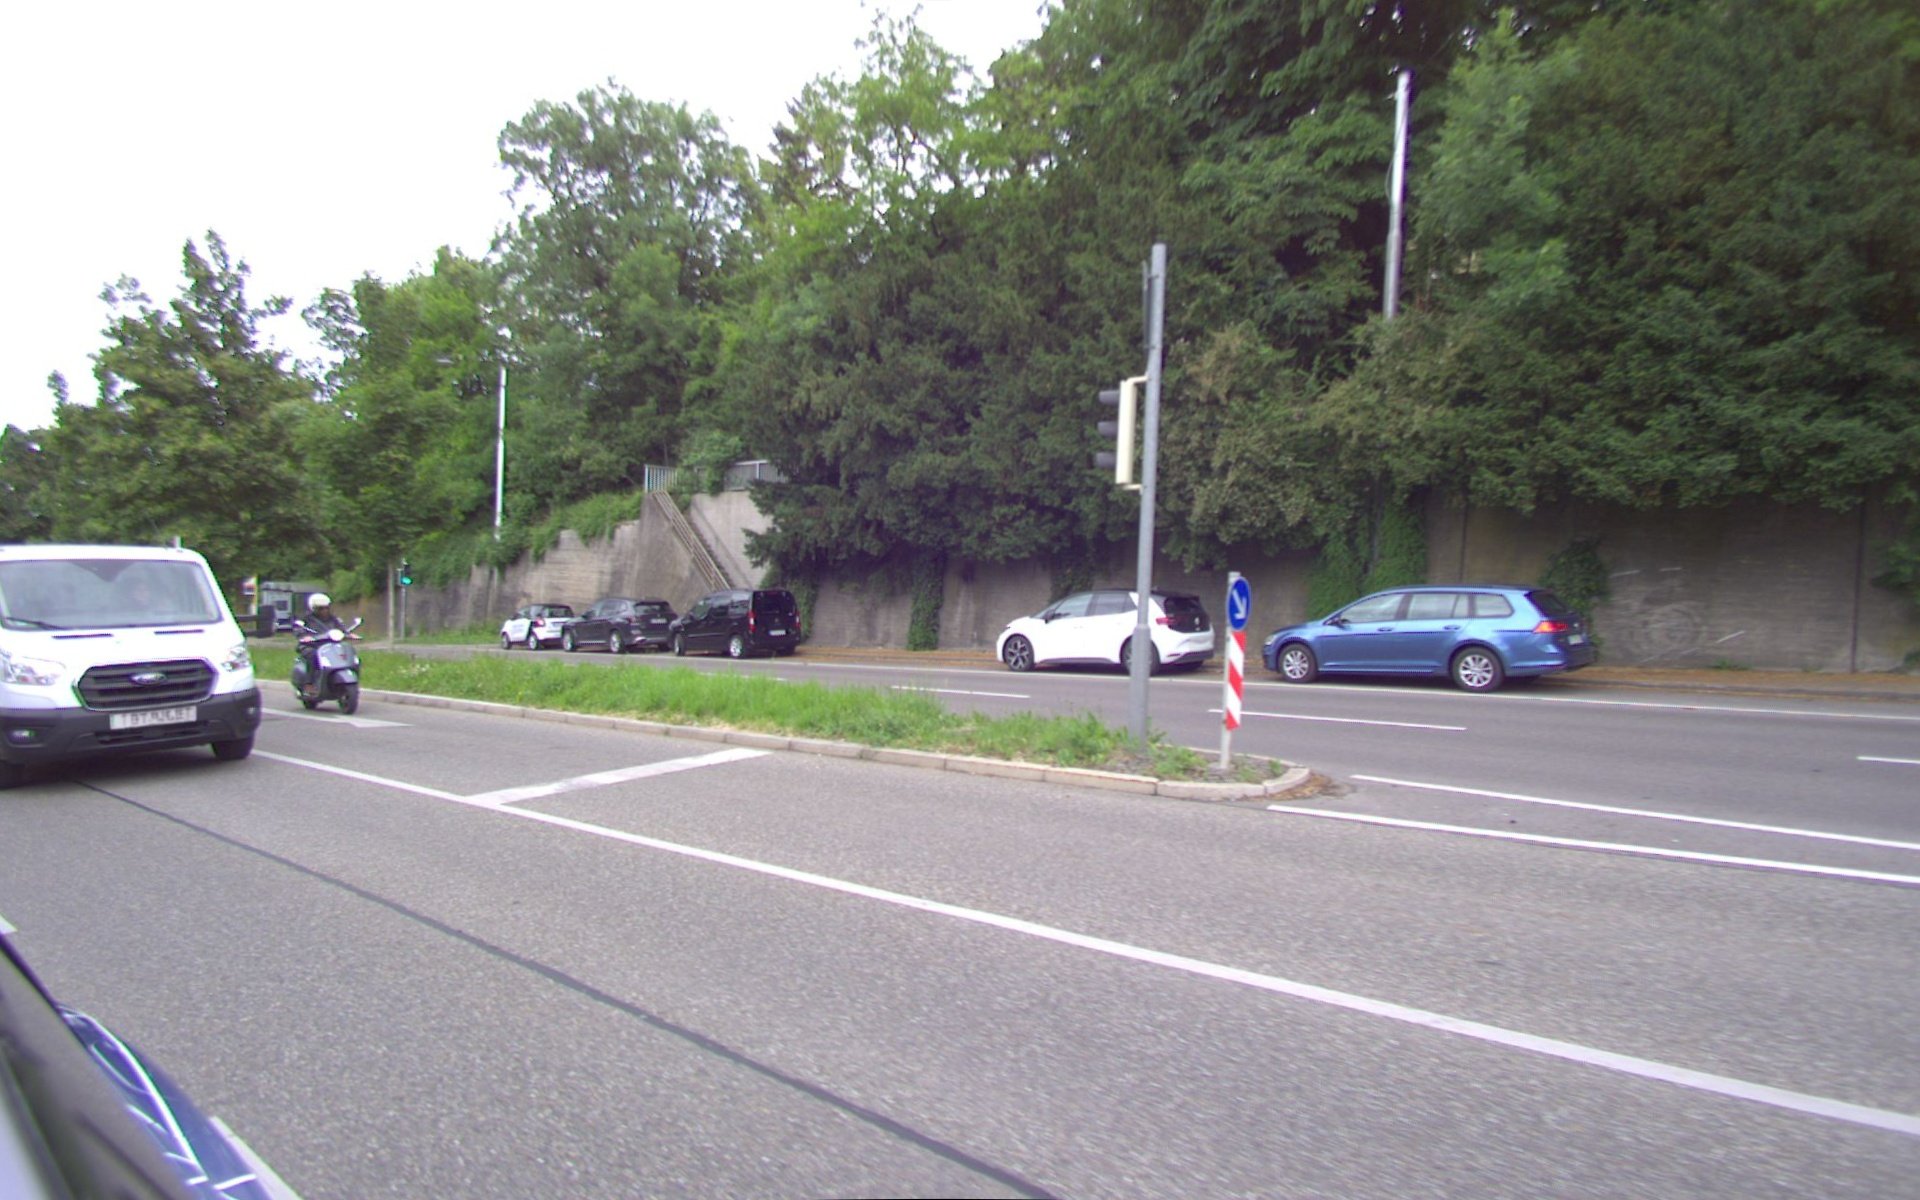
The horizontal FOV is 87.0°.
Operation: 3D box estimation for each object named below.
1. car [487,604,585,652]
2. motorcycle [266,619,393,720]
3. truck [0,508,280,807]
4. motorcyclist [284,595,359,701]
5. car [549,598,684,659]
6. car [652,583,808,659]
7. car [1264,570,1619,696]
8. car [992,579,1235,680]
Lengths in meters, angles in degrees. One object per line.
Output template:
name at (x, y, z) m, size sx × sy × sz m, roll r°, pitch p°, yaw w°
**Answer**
car at (-14.499, 0.972, 34.555) m, size 3.093 × 1.510 × 1.763 m, roll -2°, pitch 0°, yaw 37°
motorcycle at (-8.844, 0.934, 14.168) m, size 2.042 × 1.309 × 0.820 m, roll -2°, pitch -1°, yaw 37°
truck at (-9.507, 0.455, 10.535) m, size 6.321 × 2.338 × 2.056 m, roll -1°, pitch 1°, yaw 37°
motorcyclist at (-8.982, 0.658, 14.240) m, size 0.722 × 1.429 × 0.676 m, roll -2°, pitch -1°, yaw 37°
car at (-10.553, 0.844, 30.946) m, size 4.531 × 1.669 × 1.948 m, roll -1°, pitch 1°, yaw 42°
car at (-6.260, 0.573, 27.281) m, size 4.486 × 1.857 × 1.761 m, roll -2°, pitch 0°, yaw 41°
car at (6.822, 0.441, 14.701) m, size 1.692 × 1.540 × 4.304 m, roll -2°, pitch 0°, yaw -44°
car at (2.767, 0.529, 18.854) m, size 4.169 × 1.641 × 1.761 m, roll -2°, pitch 0°, yaw 42°
